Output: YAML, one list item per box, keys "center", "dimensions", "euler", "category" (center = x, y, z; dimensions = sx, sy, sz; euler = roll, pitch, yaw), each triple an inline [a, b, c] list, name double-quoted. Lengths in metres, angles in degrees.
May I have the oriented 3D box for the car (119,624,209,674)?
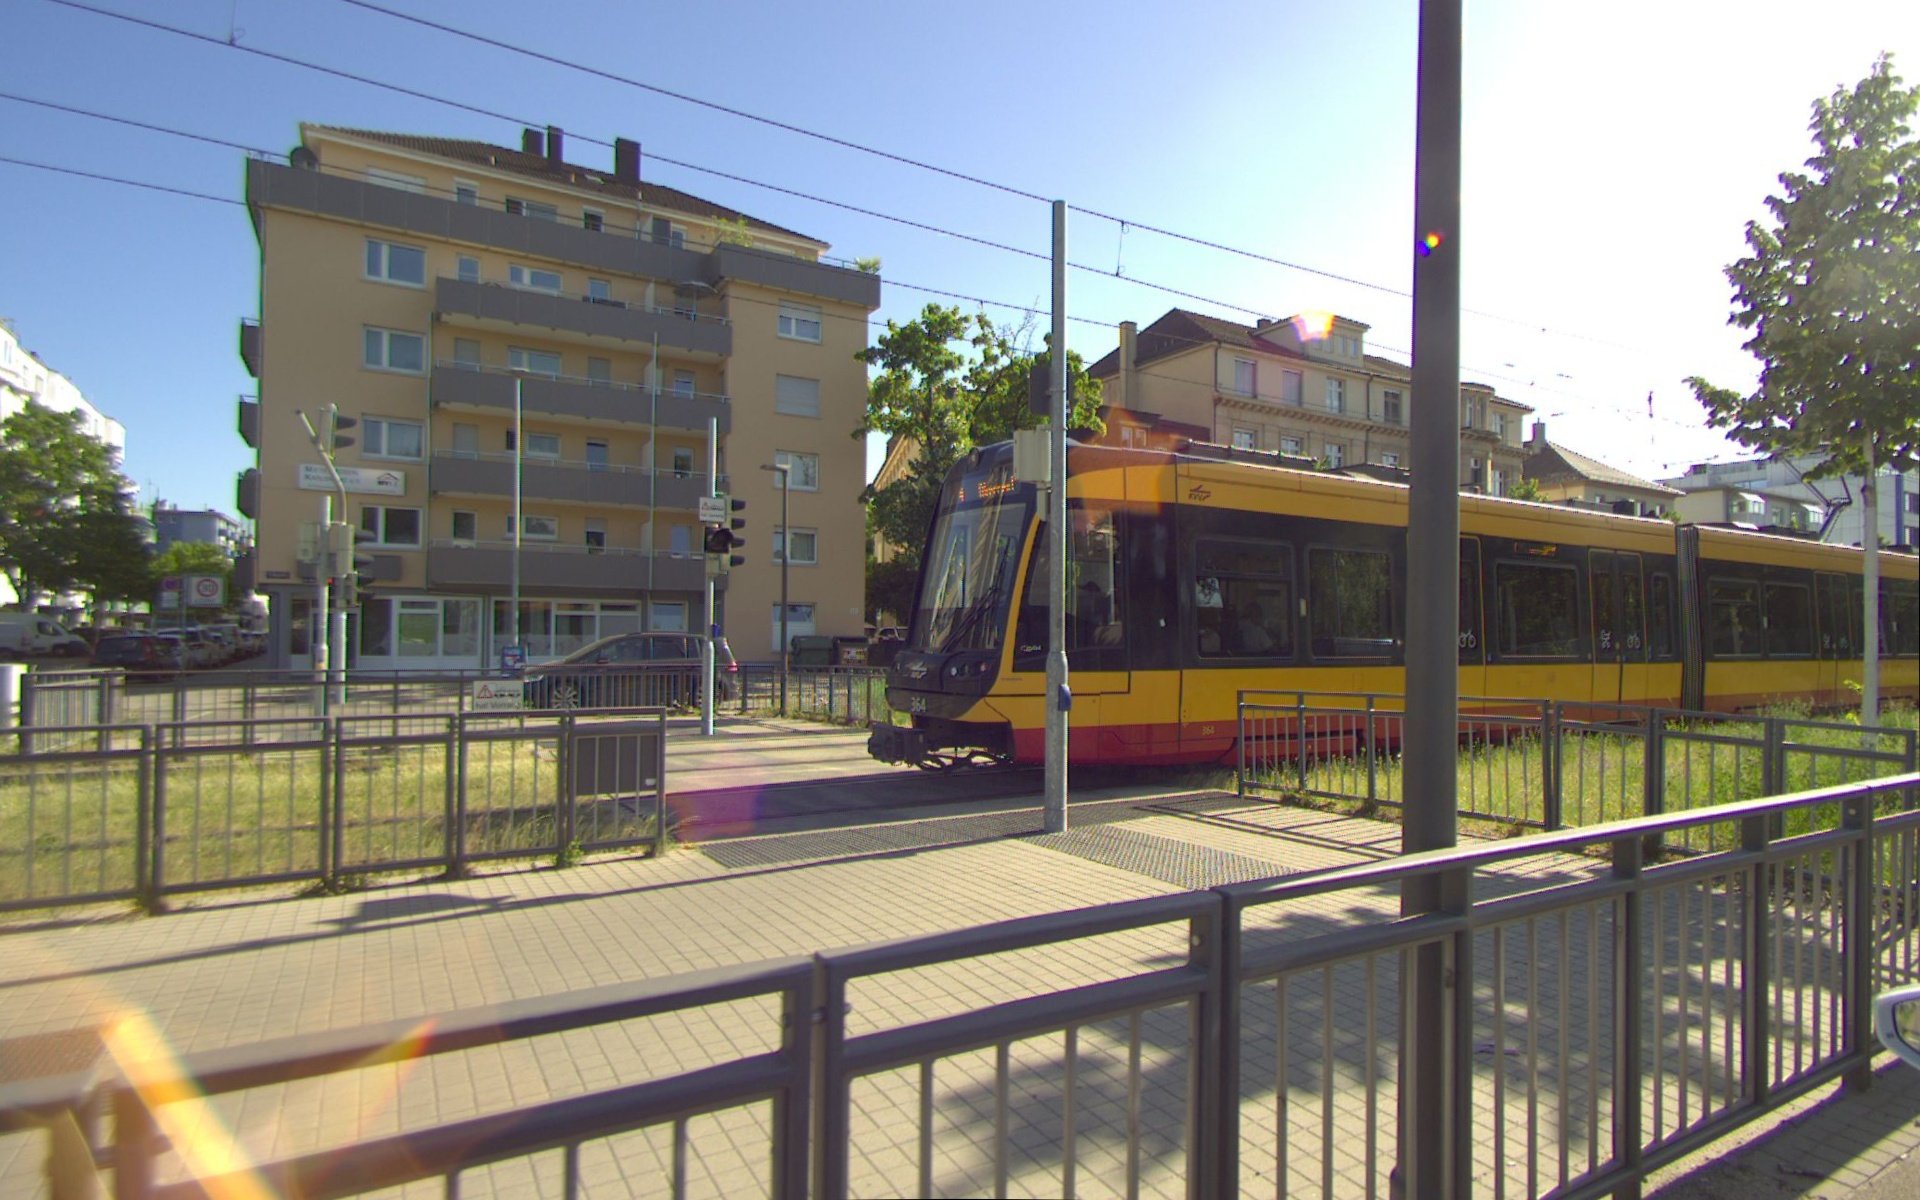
- center: [-28.586, 1.723, 36.201]
  dimensions: [1.977, 1.639, 3.967]
  euler: [2, -1, -31]
  category: "car"

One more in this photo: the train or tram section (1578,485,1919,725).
- center: [15.915, 0.249, 19.346]
  dimensions: [11.188, 3.718, 1.983]
  euler: [2, -1, -32]
  category: "train or tram section"

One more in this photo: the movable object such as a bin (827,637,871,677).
- center: [-4.145, 2.112, 37.405]
  dimensions: [1.274, 1.438, 1.260]
  euler: [2, -1, -26]
  category: "movable object such as a bin"

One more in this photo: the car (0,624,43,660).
- center: [-46.159, 1.980, 47.404]
  dimensions: [3.959, 1.661, 1.981]
  euler: [2, -1, -34]
  category: "car"

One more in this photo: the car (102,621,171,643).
- center: [-64.045, 2.491, 78.208]
  dimensions: [3.960, 1.661, 1.981]
  euler: [2, -1, -35]
  category: "car"

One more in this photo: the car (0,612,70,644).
- center: [-51.911, 1.535, 55.374]
  dimensions: [3.959, 1.661, 1.981]
  euler: [2, -1, -34]
  category: "car"

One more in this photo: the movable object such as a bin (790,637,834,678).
- center: [-5.430, 2.084, 36.832]
  dimensions: [1.274, 1.438, 1.260]
  euler: [2, -1, -26]
  category: "movable object such as a bin"

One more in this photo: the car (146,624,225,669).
- center: [-30.961, 1.843, 40.258]
  dimensions: [1.977, 1.639, 3.967]
  euler: [2, -1, -31]
  category: "car"

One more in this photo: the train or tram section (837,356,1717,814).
- center: [5.277, 0.086, 12.708]
  dimensions: [13.994, 3.718, 1.983]
  euler: [2, -1, -32]
  category: "train or tram section"

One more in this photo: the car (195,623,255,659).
- center: [-36.722, 2.022, 50.282]
  dimensions: [1.977, 1.639, 3.967]
  euler: [2, -1, -31]
  category: "car"

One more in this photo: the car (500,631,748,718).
- center: [-6.800, 1.479, 20.483]
  dimensions: [4.458, 1.599, 1.983]
  euler: [2, -4, -33]
  category: "car"

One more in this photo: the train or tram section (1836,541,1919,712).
- center: [25.596, 0.751, 25.210]
  dimensions: [11.549, 3.718, 1.984]
  euler: [2, -1, -31]
  category: "train or tram section"

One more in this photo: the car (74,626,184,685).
- center: [-25.639, 1.671, 31.138]
  dimensions: [1.977, 1.639, 3.967]
  euler: [2, -1, -31]
  category: "car"
